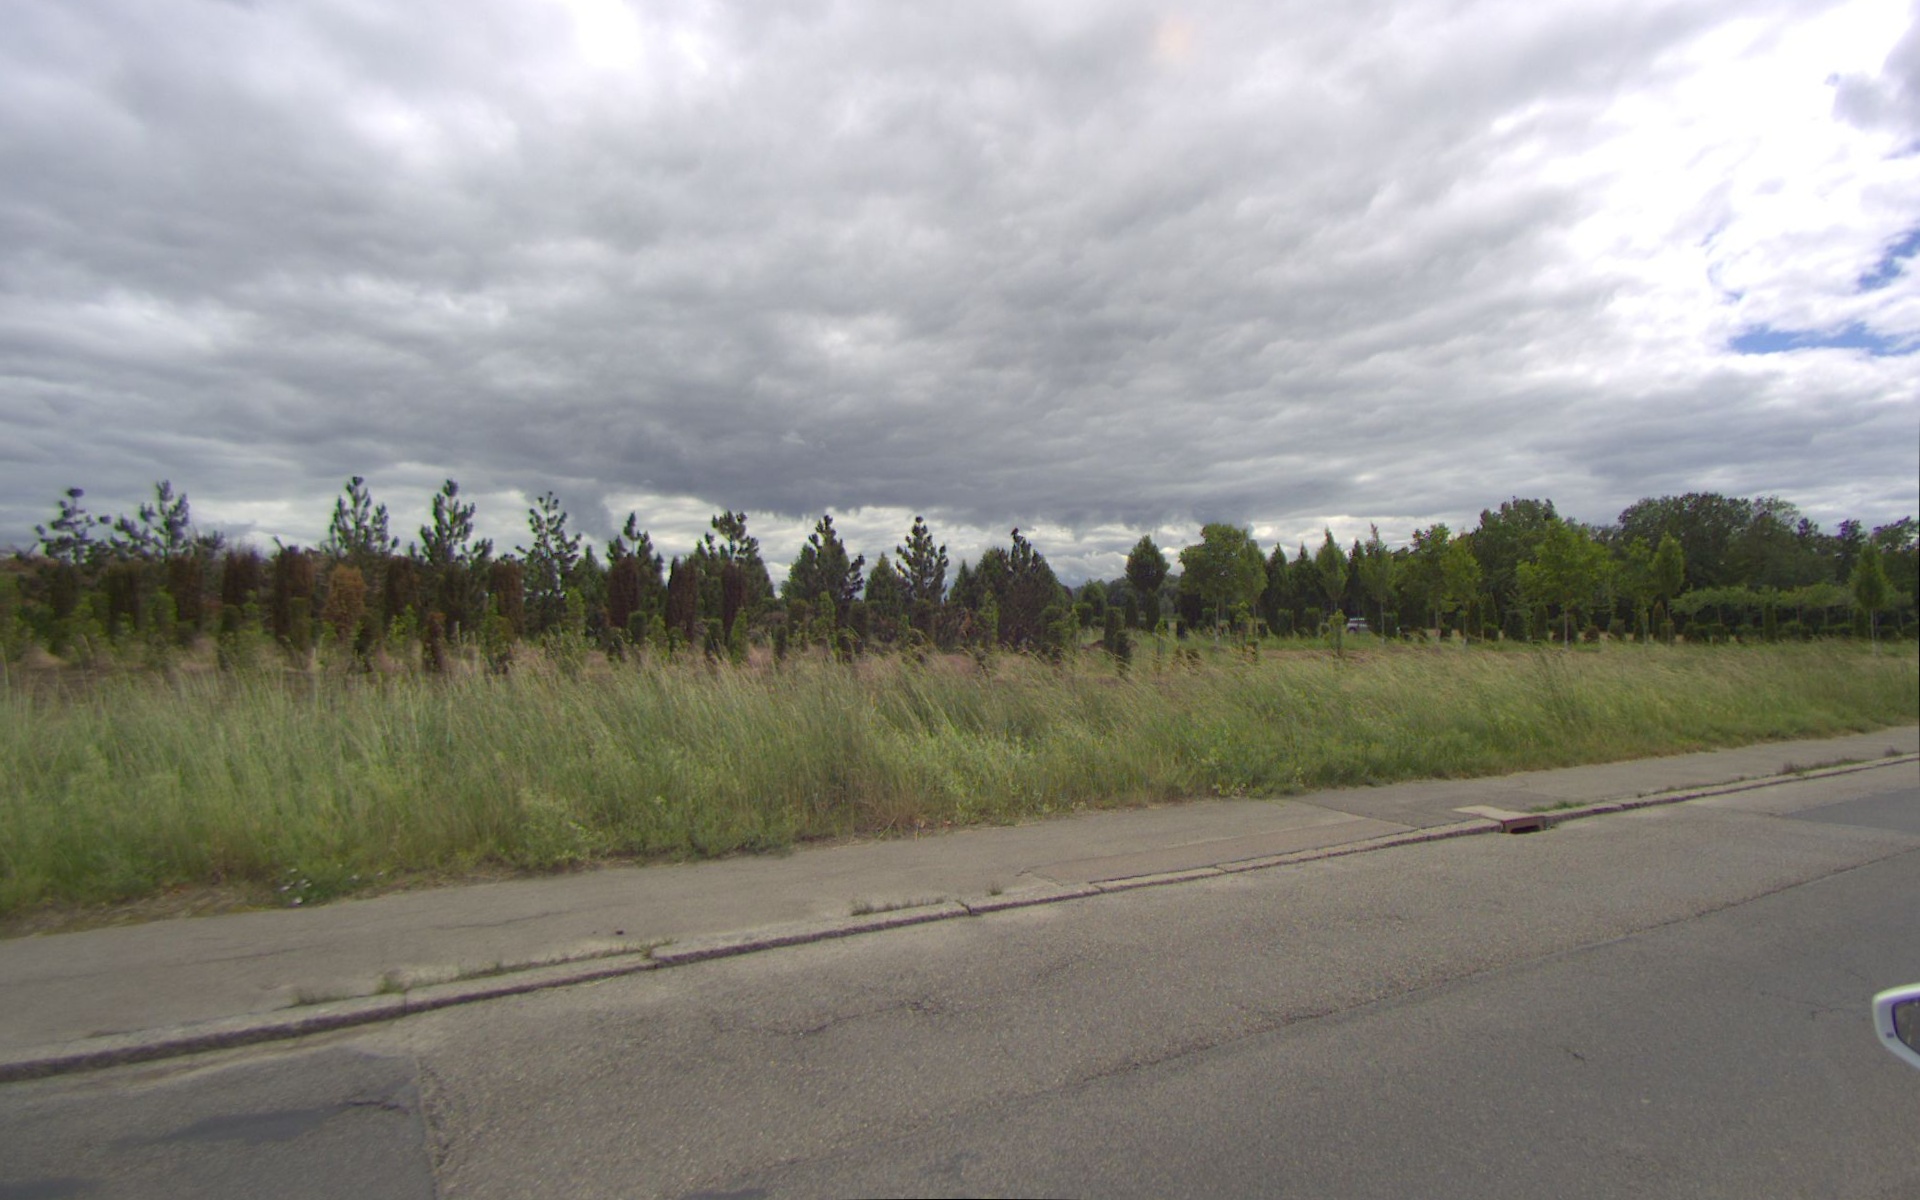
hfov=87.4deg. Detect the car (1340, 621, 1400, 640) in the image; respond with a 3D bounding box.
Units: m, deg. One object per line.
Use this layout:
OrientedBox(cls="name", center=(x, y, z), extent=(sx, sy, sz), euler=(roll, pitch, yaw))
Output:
OrientedBox(cls="car", center=(32.097, 2.382, 78.753), extent=(3.945, 1.473, 1.964), euler=(-2, -3, 43))
